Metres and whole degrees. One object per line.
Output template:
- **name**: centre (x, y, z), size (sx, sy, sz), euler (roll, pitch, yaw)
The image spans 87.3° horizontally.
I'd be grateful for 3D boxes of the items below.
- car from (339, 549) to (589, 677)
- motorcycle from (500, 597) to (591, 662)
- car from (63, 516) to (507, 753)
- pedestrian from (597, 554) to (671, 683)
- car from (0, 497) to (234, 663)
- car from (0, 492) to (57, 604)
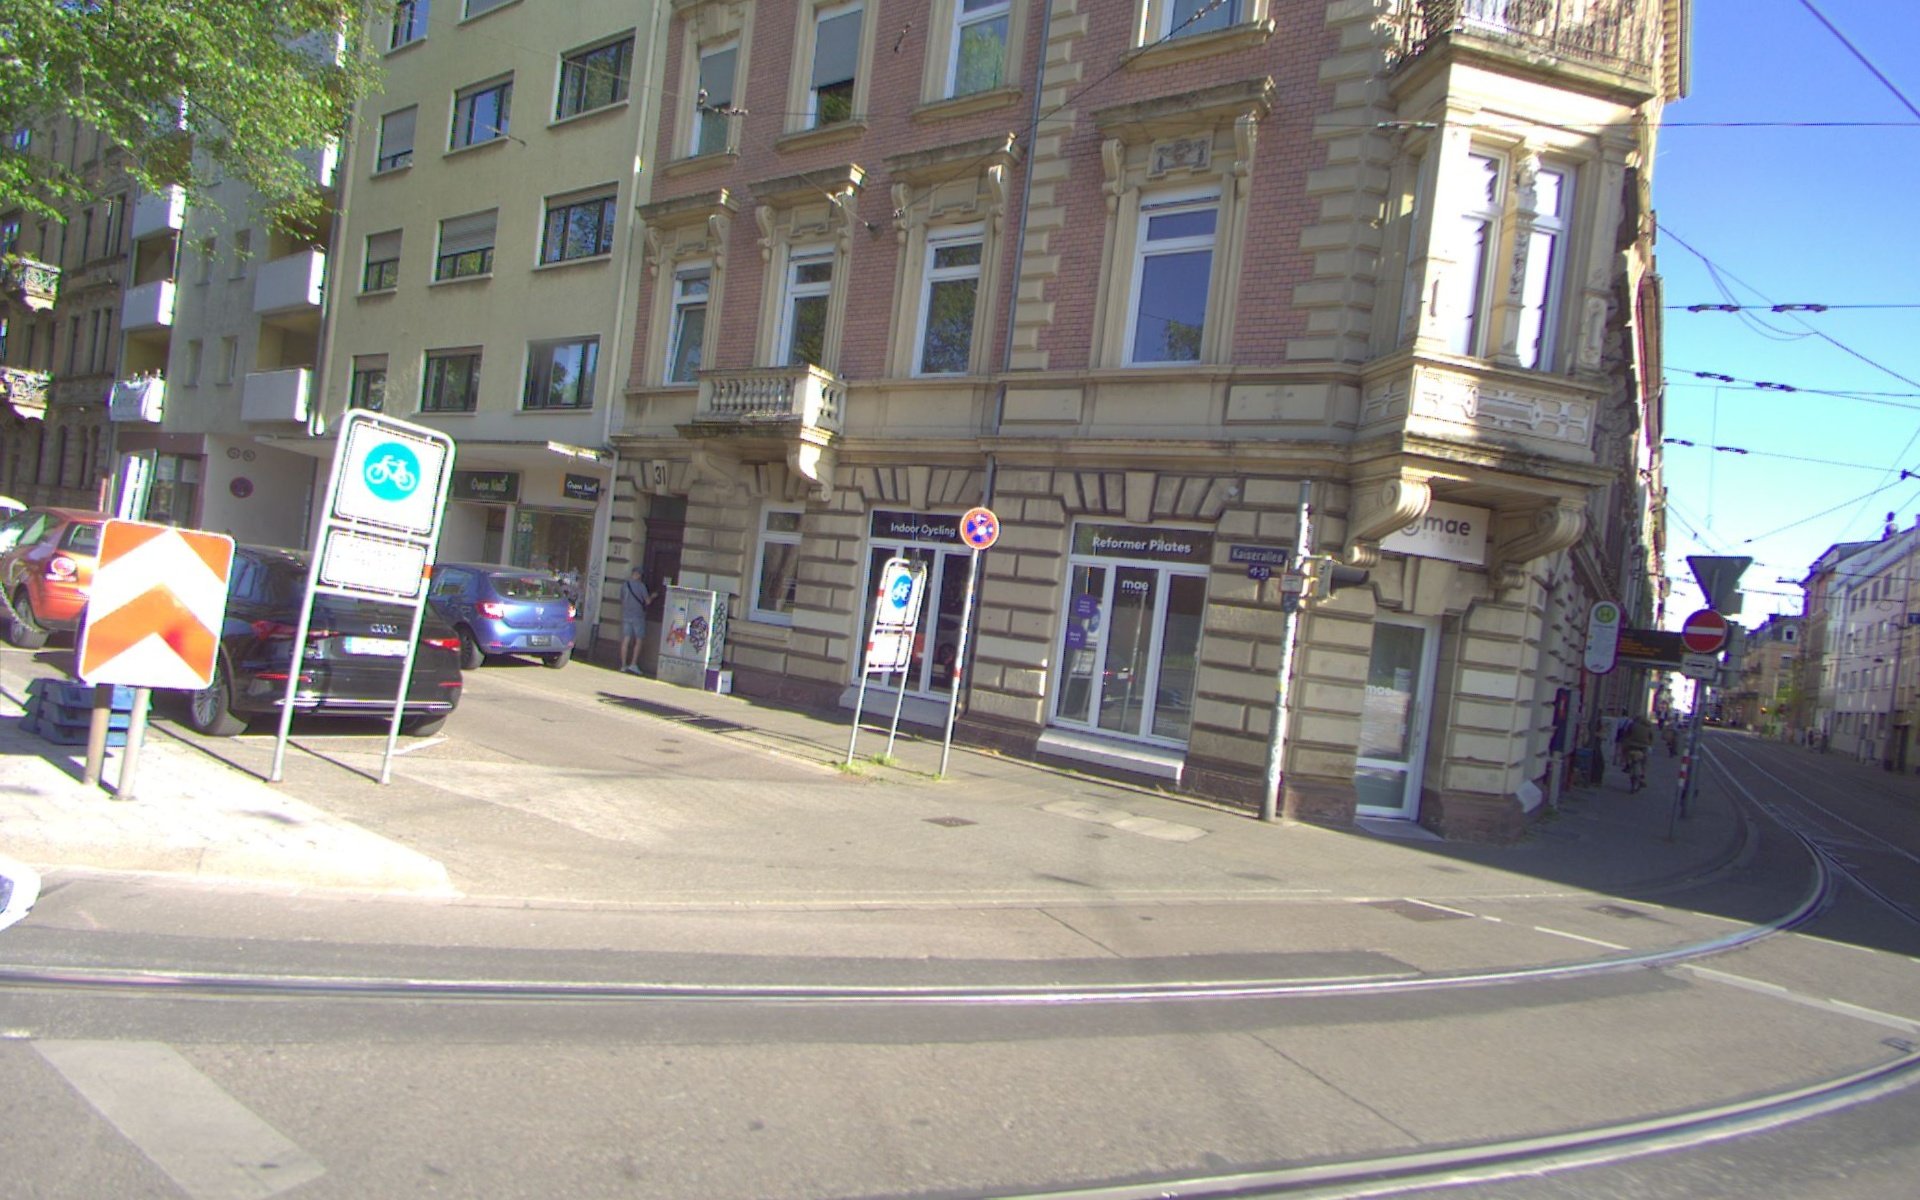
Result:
- **car**: centre (-7.986, 0.160, 16.109), size (3.933, 1.500, 1.693), euler (8, 3, 32)
- **motorcycle**: centre (-7.307, 0.513, 17.706), size (1.842, 0.907, 0.485), euler (7, 3, 34)
- **car**: centre (-6.090, 0.249, 8.936), size (4.102, 1.437, 1.700), euler (7, -2, 34)
- **pedestrian**: centre (-5.451, 0.308, 16.837), size (0.839, 2.036, 0.512), euler (8, -1, 37)
- **car**: centre (-10.228, -0.314, 11.637), size (3.842, 1.450, 1.592), euler (7, -2, 34)
- **car**: centre (-15.036, -0.976, 14.716), size (3.636, 1.493, 1.630), euler (7, -2, 32)
